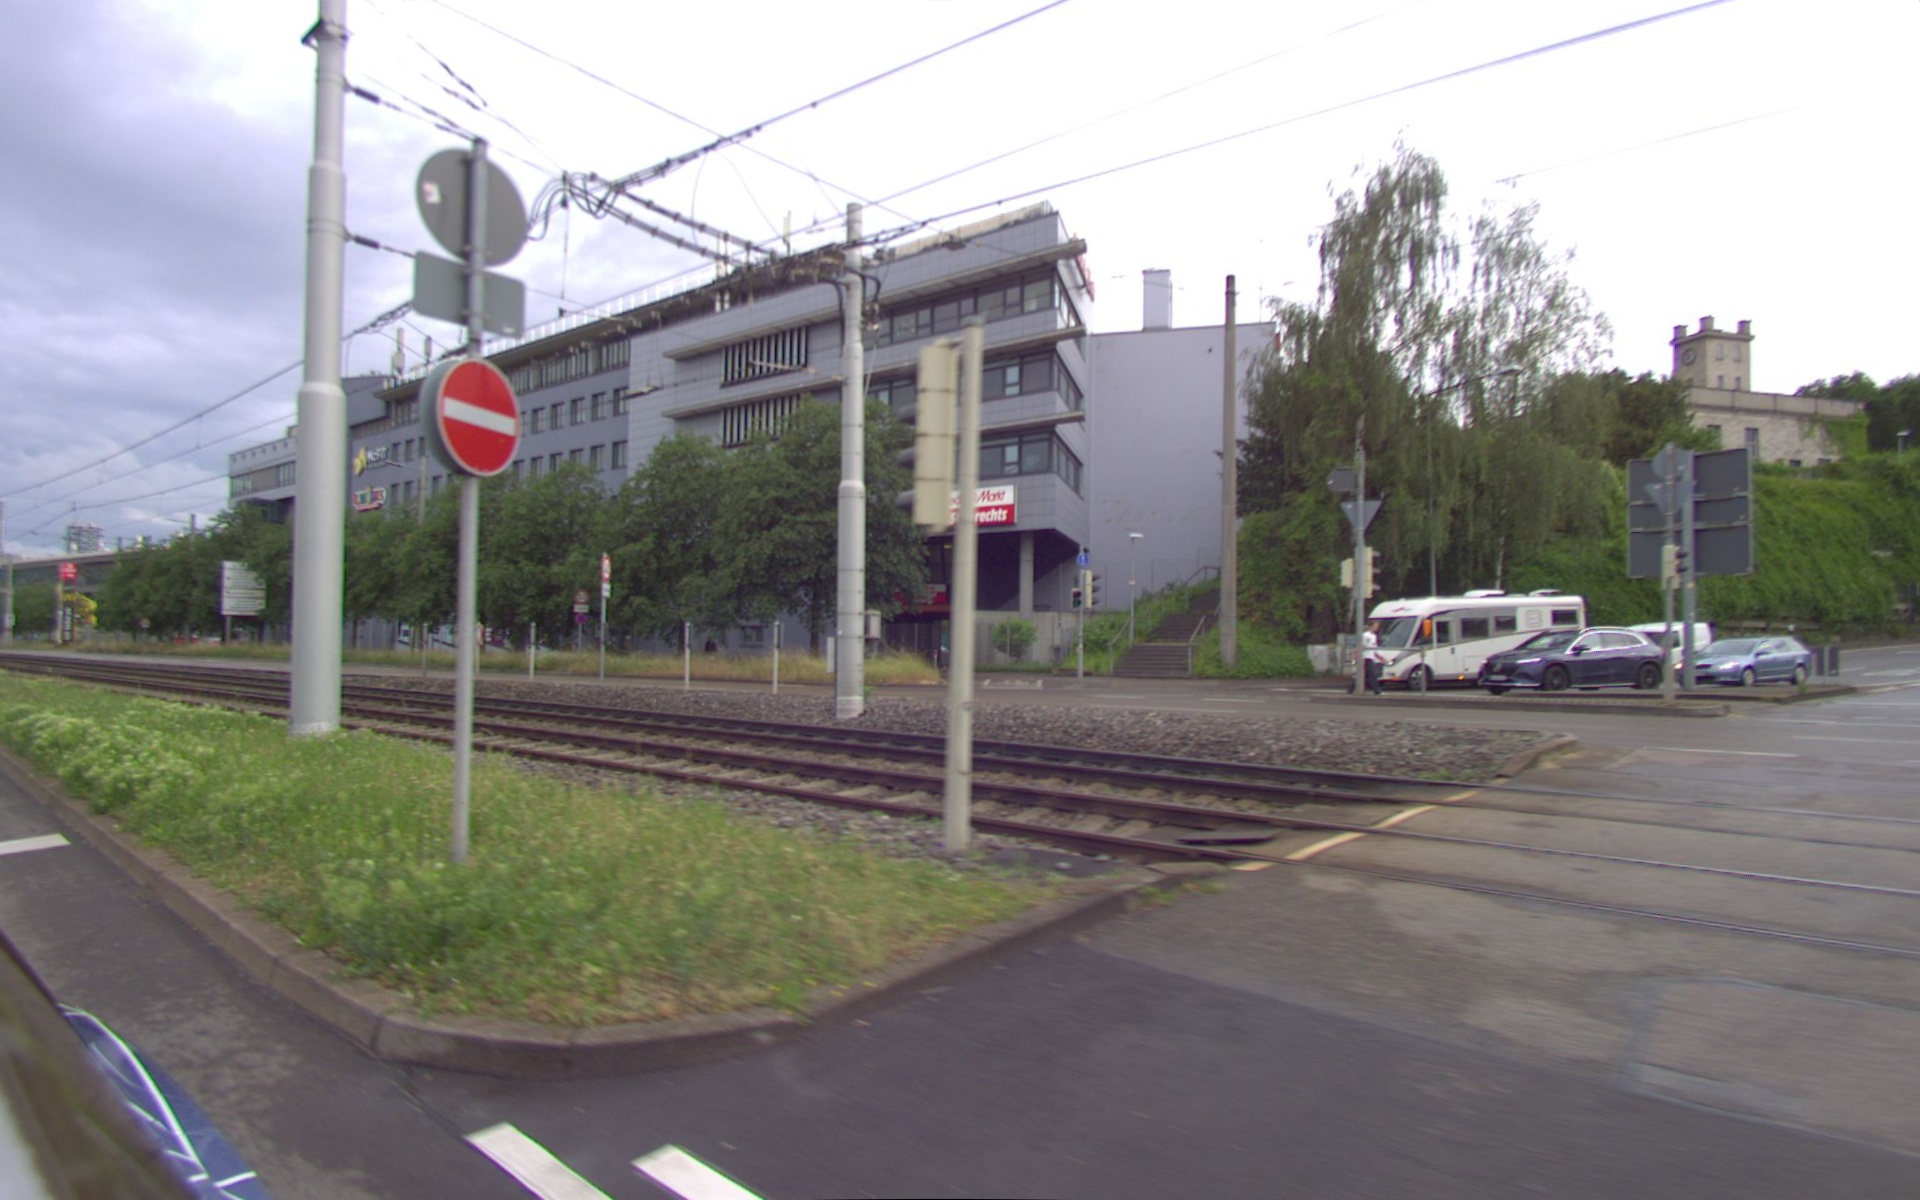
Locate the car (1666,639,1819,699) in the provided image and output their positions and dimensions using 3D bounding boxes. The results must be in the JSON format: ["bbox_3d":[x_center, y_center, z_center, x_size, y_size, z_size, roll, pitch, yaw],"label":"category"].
[{"bbox_3d":[22.286,1.904,28.822,3.930,1.577,1.846,1,-2,-26],"label":"car"}]

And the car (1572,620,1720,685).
[{"bbox_3d":[22.692,1.701,33.473,4.446,2.029,2.006,1,-2,-25],"label":"car"}]

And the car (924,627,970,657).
[{"bbox_3d":[-0.786,2.573,62.452,1.616,1.741,3.976,-1,-2,18],"label":"car"}]

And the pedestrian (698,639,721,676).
[{"bbox_3d":[-12.405,2.839,50.143,0.877,1.768,0.717,-2,-1,42],"label":"pedestrian"}]

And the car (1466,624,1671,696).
[{"bbox_3d":[15.876,1.533,26.467,4.552,1.746,2.006,0,-2,-17],"label":"car"}]

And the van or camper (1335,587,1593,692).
[{"bbox_3d":[15.504,1.183,31.175,7.249,2.990,2.498,0,-2,-16],"label":"van or camper"}]

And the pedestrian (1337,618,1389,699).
[{"bbox_3d":[9.647,1.393,24.225,0.626,1.882,0.955,3,-4,-42],"label":"pedestrian"}]

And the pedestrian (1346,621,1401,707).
[{"bbox_3d":[10.114,1.549,24.734,0.876,2.029,0.946,2,-3,-43],"label":"pedestrian"}]
